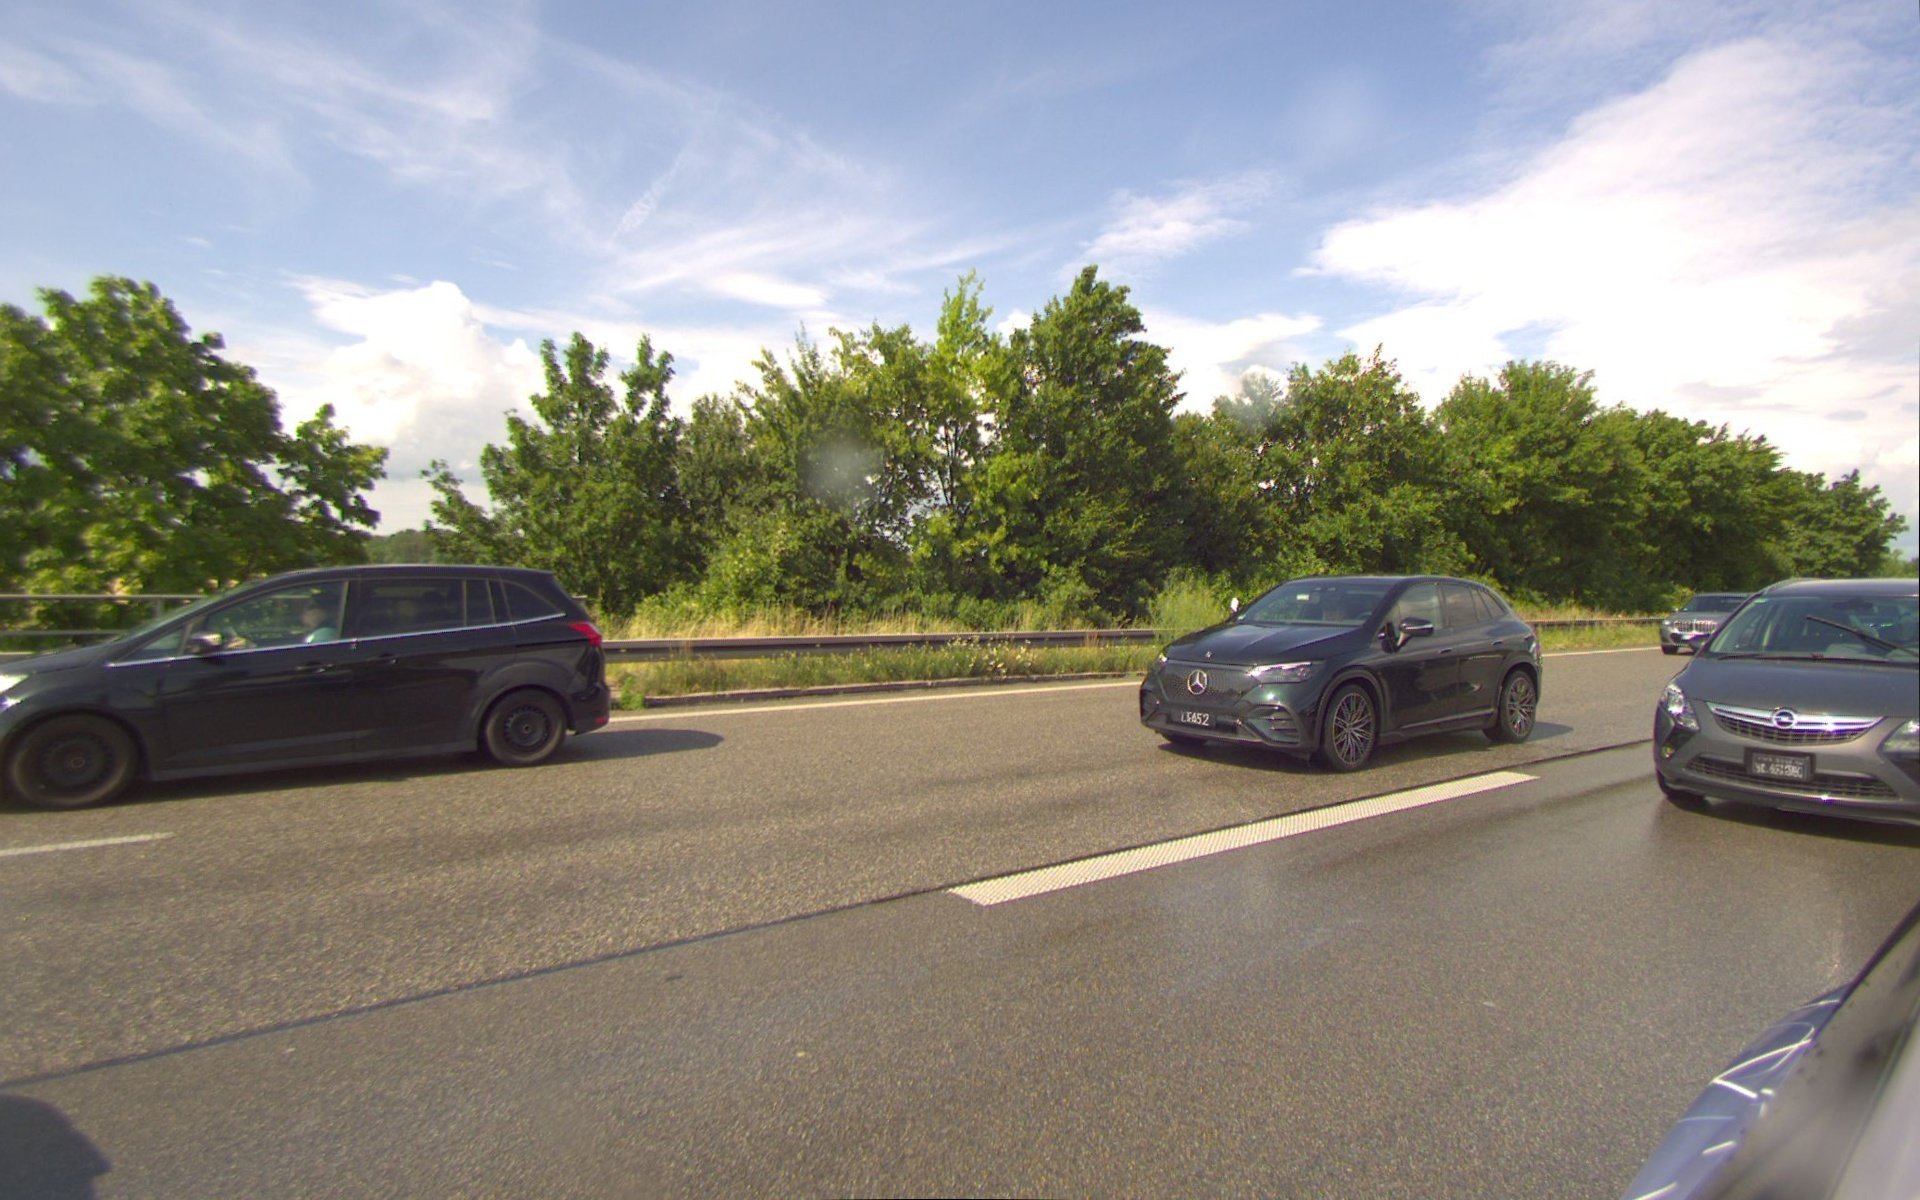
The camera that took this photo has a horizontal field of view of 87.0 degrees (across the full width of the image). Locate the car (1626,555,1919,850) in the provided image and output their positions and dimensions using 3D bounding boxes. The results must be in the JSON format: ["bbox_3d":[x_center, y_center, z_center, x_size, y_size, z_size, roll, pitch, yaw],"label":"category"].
[{"bbox_3d":[6.826,0.563,7.453,4.315,1.668,1.884,0,1,-37],"label":"car"}]

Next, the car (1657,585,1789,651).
[{"bbox_3d":[19.896,0.410,26.328,4.208,1.606,1.753,0,0,-38],"label":"car"}]

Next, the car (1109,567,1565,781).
[{"bbox_3d":[3.775,0.529,9.778,4.567,1.601,1.999,0,1,-37],"label":"car"}]

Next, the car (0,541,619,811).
[{"bbox_3d":[-5.084,0.453,7.859,4.283,1.641,1.825,0,0,-37],"label":"car"}]
